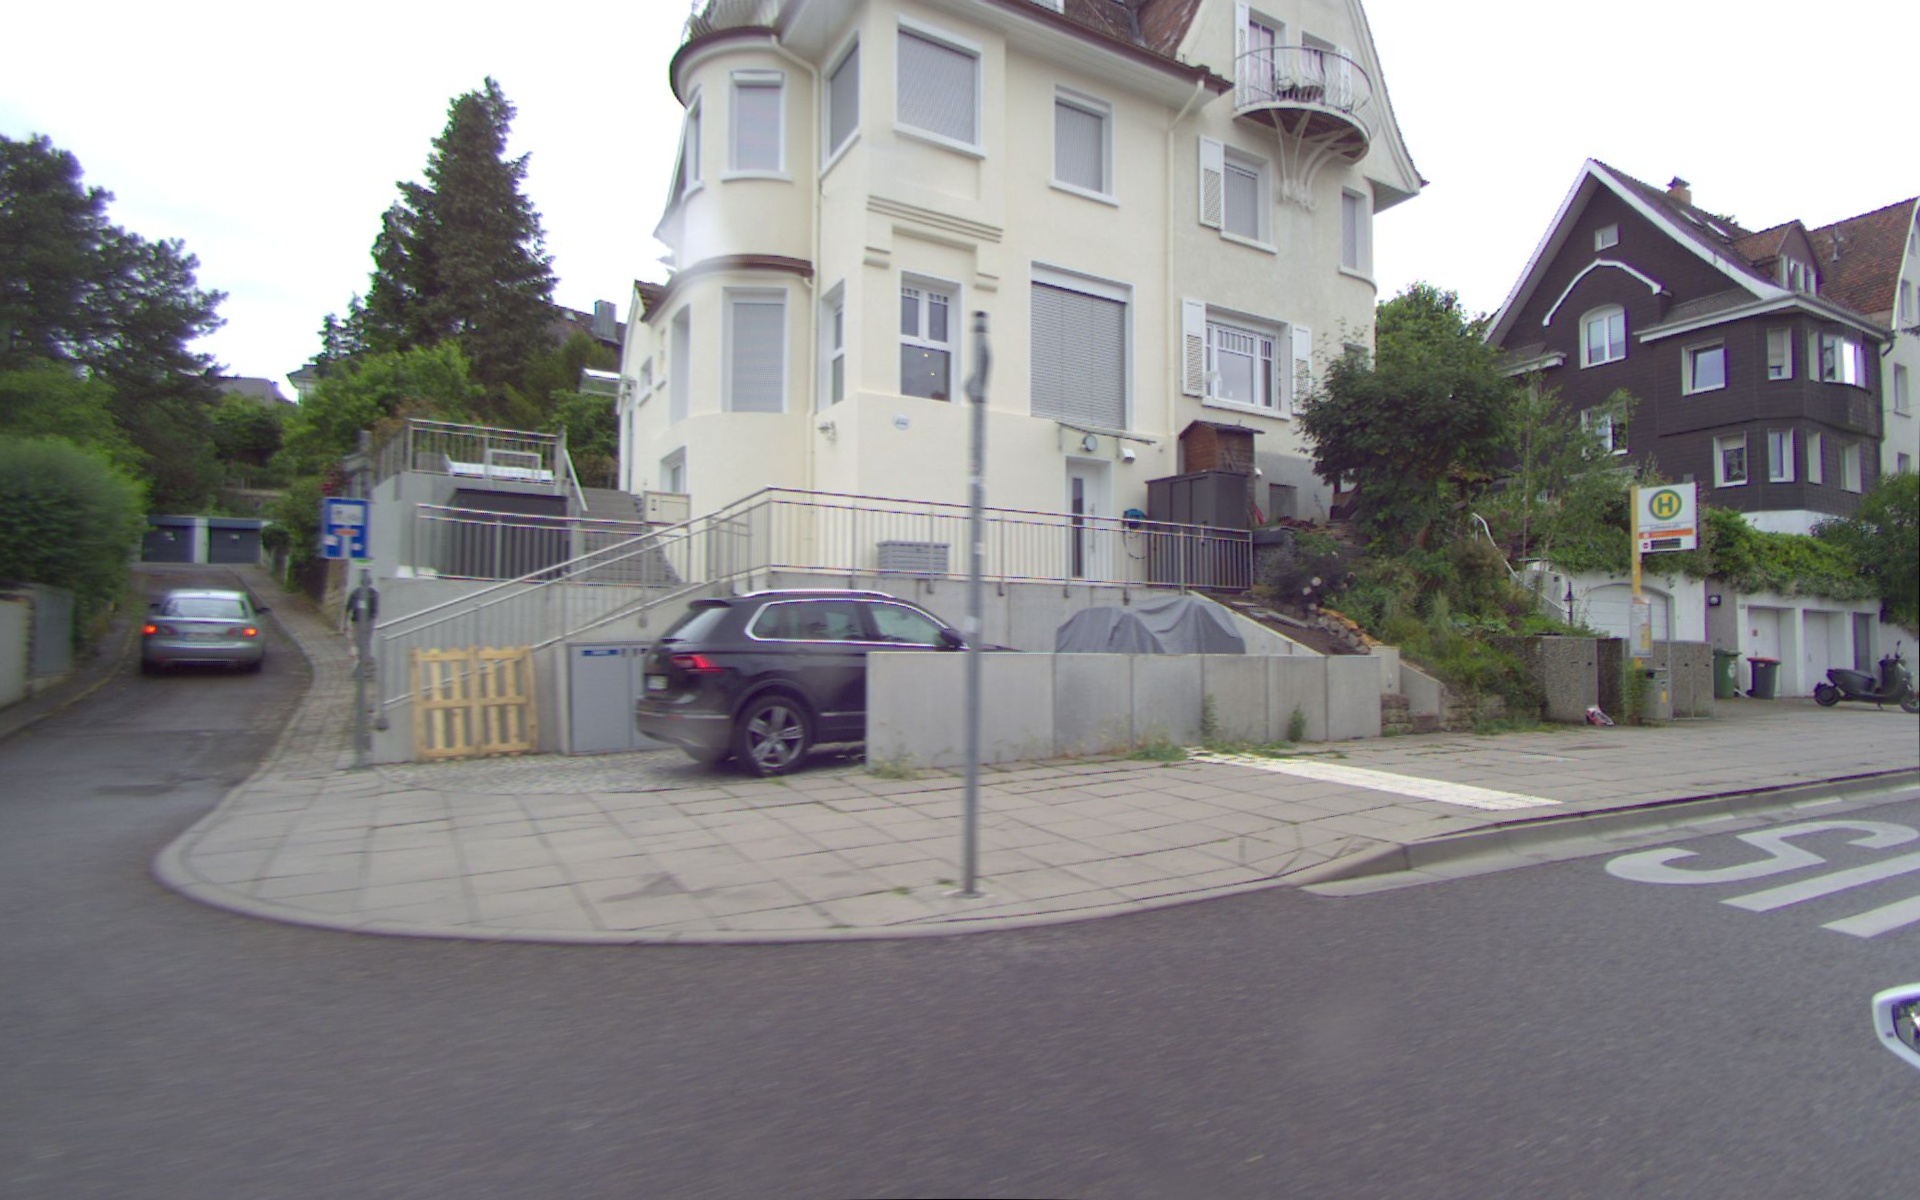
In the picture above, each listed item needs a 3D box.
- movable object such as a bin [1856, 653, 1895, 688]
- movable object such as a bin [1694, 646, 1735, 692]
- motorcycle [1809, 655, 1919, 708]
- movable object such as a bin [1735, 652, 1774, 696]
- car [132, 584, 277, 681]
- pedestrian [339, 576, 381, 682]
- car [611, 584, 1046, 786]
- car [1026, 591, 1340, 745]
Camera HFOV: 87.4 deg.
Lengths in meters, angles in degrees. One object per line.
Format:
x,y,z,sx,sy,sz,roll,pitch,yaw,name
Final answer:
24.280,1.877,26.644,0.609,0.901,0.488,-1,-1,16,movable object such as a bin
16.422,1.492,21.870,0.508,0.966,0.570,0,-1,-34,movable object such as a bin
18.177,1.609,20.053,0.596,0.915,1.785,2,0,-30,motorcycle
18.058,1.679,22.830,0.508,0.966,0.570,0,-1,-34,movable object such as a bin
-14.254,0.517,19.178,1.802,1.577,4.341,0,2,-32,car
-10.893,0.521,18.246,0.632,1.877,0.805,0,-1,-31,pedestrian
-1.231,0.708,10.025,3.958,1.639,1.755,0,-1,-34,car
2.955,0.770,13.052,3.958,1.719,1.755,0,-1,-34,car
